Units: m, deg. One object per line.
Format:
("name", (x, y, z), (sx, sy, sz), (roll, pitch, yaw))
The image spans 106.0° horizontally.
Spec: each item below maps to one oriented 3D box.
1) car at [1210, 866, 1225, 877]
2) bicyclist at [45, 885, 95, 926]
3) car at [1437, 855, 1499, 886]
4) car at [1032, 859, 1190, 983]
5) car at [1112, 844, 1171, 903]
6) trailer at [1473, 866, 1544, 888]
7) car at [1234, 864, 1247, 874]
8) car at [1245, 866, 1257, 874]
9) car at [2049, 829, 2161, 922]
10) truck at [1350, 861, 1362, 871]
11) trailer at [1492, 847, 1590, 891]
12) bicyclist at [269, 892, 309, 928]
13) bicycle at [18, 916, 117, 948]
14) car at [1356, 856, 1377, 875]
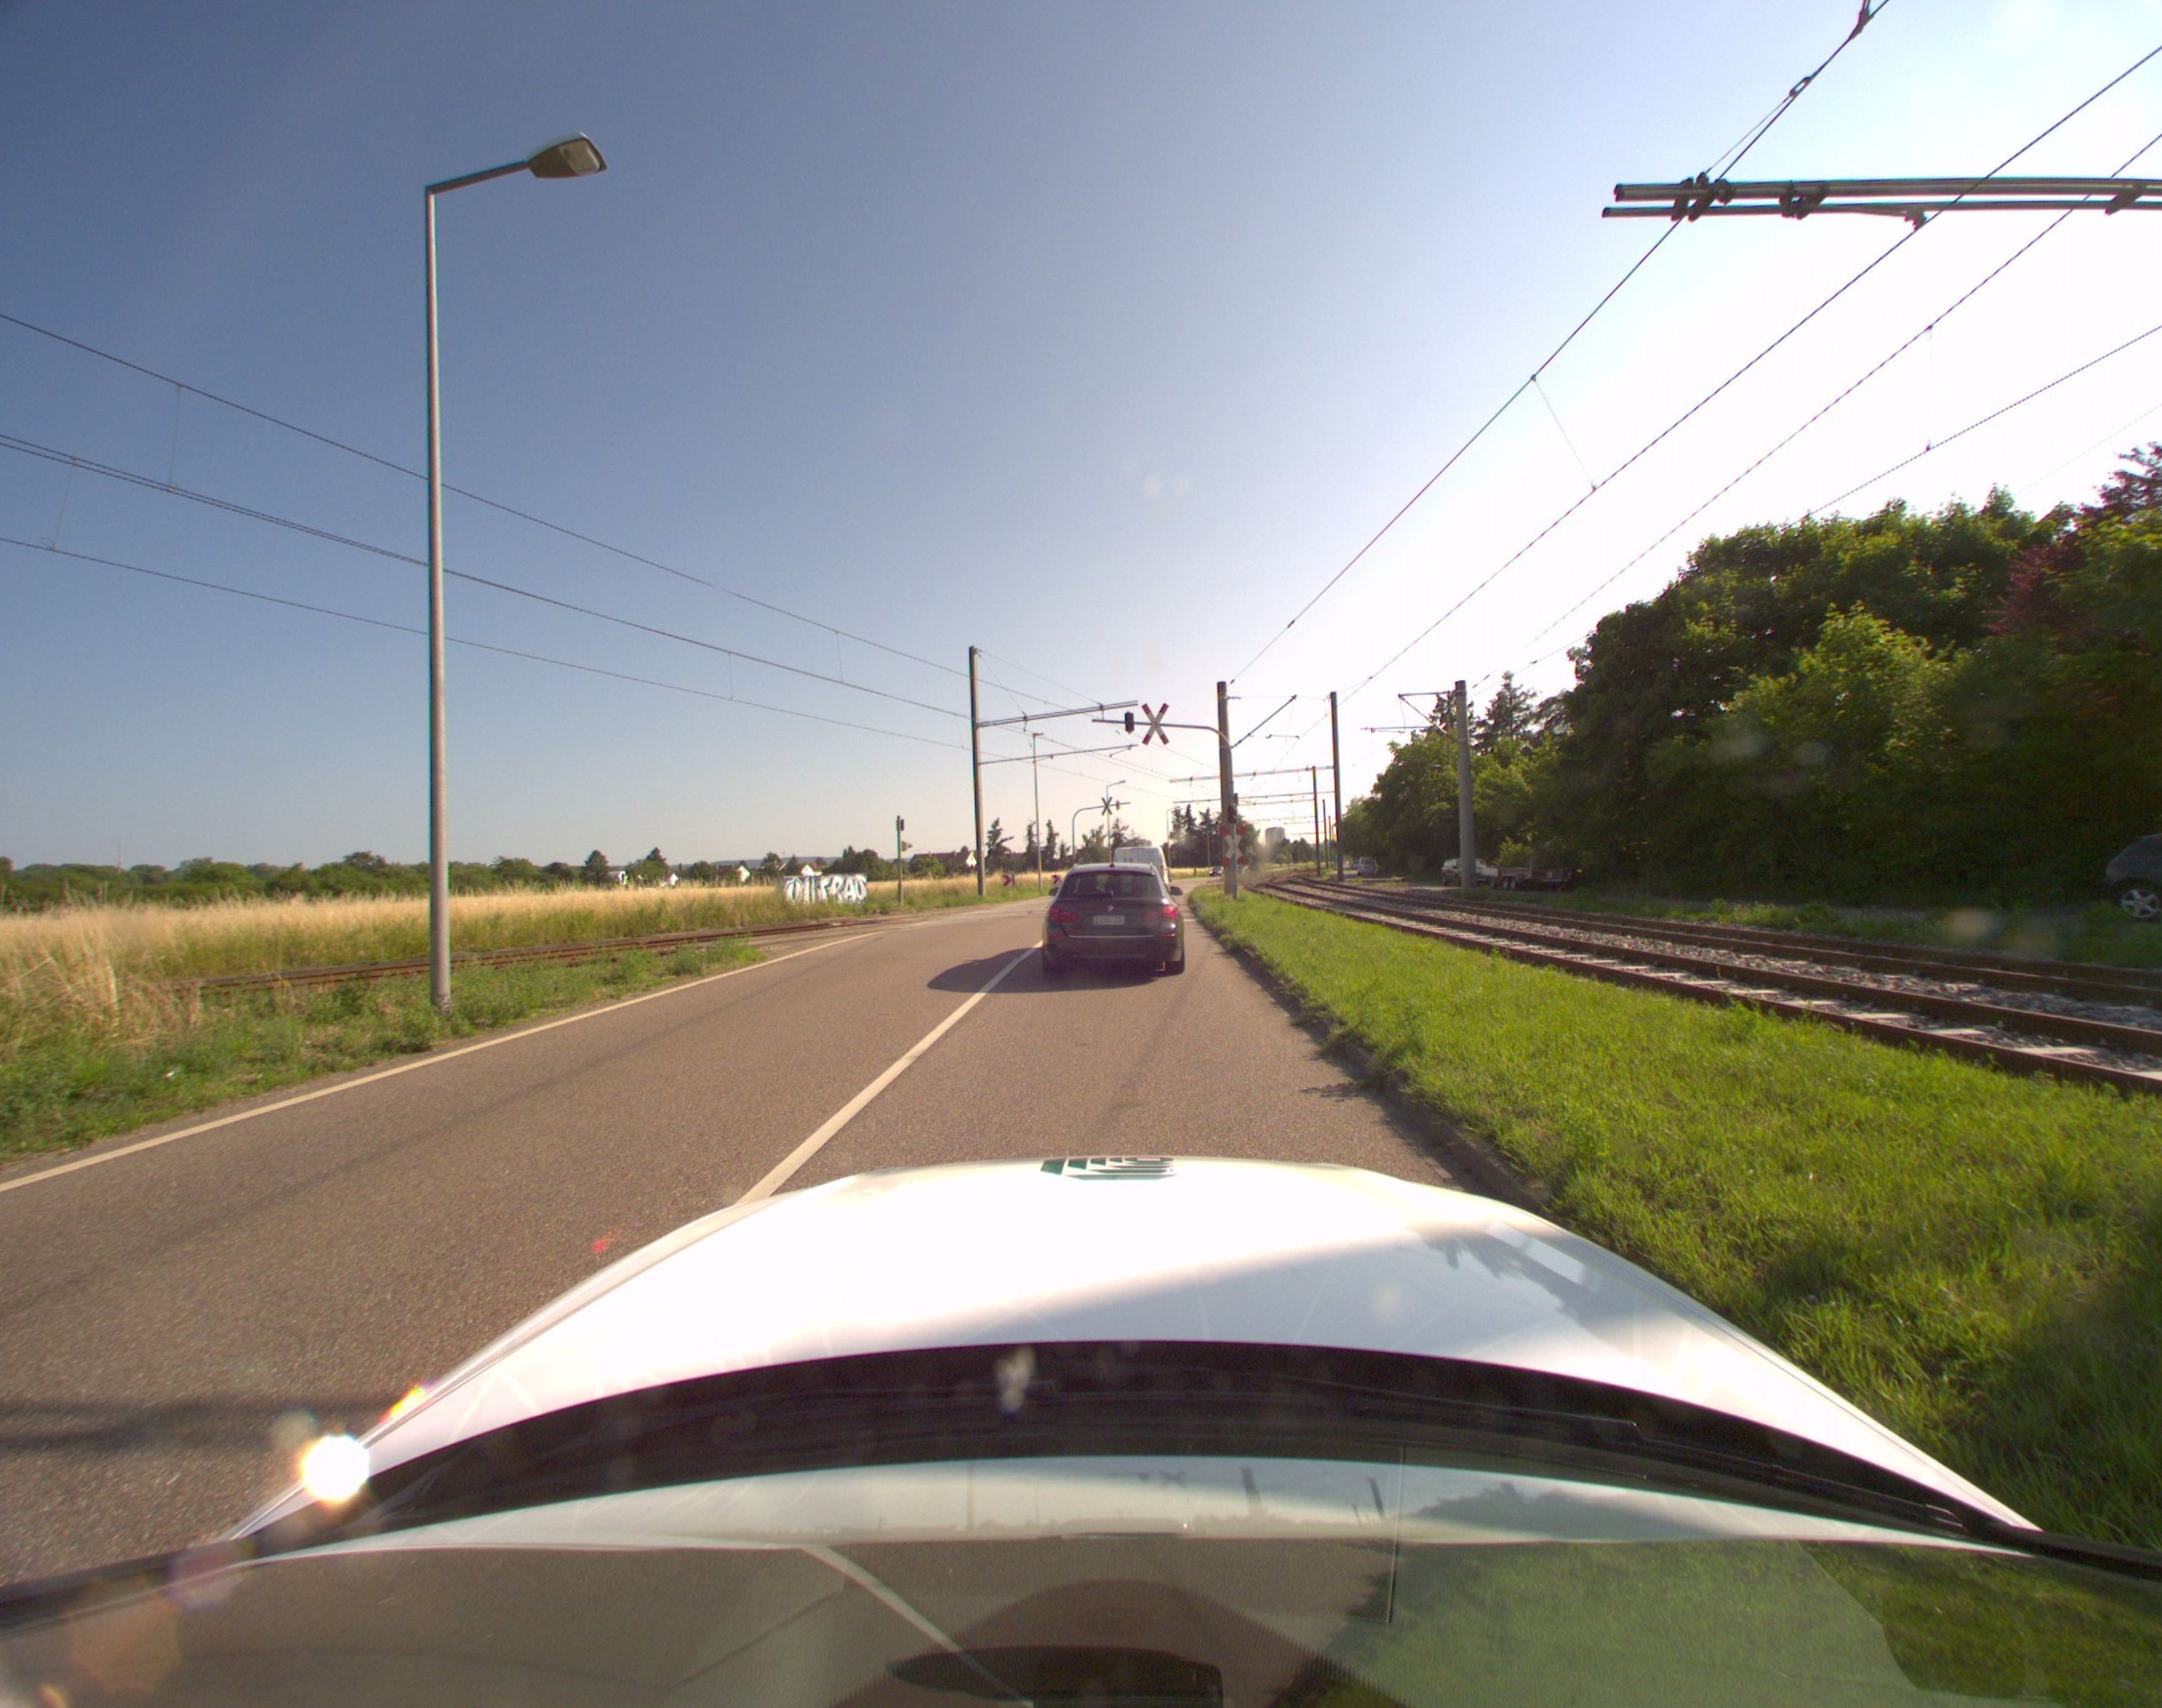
("car", (19.457, 2.475, 115.993), (1.680, 1.440, 4.302), (-1, -1, 16))
("bicyclist", (-30.372, 1.538, 24.470), (0.597, 1.205, 0.794), (-2, -1, 24))
("car", (19.535, 0.819, 41.347), (1.687, 1.456, 4.895), (0, 0, 11))
("car", (0.445, 0.816, 12.113), (1.862, 1.452, 4.746), (-1, 0, 2))
("car", (2.356, 0.710, 30.533), (1.847, 1.988, 5.118), (-1, -1, 7))
("trailer", (19.118, 1.005, 36.579), (1.721, 0.939, 3.737), (1, -1, 9))
("car", (28.441, 2.732, 145.047), (1.693, 1.665, 4.610), (-2, -1, 17))
("car", (33.345, 3.190, 159.807), (1.699, 1.549, 3.947), (-2, -1, 18))
("car", (17.175, 0.300, 11.502), (1.617, 1.410, 4.520), (-1, -1, 0))
("truck", (54.419, 2.375, 161.226), (2.187, 1.819, 5.956), (-2, -1, 17))
("trailer", (18.295, 0.593, 32.608), (2.015, 1.596, 4.269), (0, -1, 8))
("bicyclist", (-27.978, 1.976, 28.783), (0.738, 1.205, 0.794), (-2, -1, 24))
("bicycle", (-30.364, 2.321, 24.427), (0.607, 0.839, 1.746), (-2, -1, 24))
("car", (31.194, 1.258, 89.020), (1.978, 2.004, 5.089), (0, -1, 17))
